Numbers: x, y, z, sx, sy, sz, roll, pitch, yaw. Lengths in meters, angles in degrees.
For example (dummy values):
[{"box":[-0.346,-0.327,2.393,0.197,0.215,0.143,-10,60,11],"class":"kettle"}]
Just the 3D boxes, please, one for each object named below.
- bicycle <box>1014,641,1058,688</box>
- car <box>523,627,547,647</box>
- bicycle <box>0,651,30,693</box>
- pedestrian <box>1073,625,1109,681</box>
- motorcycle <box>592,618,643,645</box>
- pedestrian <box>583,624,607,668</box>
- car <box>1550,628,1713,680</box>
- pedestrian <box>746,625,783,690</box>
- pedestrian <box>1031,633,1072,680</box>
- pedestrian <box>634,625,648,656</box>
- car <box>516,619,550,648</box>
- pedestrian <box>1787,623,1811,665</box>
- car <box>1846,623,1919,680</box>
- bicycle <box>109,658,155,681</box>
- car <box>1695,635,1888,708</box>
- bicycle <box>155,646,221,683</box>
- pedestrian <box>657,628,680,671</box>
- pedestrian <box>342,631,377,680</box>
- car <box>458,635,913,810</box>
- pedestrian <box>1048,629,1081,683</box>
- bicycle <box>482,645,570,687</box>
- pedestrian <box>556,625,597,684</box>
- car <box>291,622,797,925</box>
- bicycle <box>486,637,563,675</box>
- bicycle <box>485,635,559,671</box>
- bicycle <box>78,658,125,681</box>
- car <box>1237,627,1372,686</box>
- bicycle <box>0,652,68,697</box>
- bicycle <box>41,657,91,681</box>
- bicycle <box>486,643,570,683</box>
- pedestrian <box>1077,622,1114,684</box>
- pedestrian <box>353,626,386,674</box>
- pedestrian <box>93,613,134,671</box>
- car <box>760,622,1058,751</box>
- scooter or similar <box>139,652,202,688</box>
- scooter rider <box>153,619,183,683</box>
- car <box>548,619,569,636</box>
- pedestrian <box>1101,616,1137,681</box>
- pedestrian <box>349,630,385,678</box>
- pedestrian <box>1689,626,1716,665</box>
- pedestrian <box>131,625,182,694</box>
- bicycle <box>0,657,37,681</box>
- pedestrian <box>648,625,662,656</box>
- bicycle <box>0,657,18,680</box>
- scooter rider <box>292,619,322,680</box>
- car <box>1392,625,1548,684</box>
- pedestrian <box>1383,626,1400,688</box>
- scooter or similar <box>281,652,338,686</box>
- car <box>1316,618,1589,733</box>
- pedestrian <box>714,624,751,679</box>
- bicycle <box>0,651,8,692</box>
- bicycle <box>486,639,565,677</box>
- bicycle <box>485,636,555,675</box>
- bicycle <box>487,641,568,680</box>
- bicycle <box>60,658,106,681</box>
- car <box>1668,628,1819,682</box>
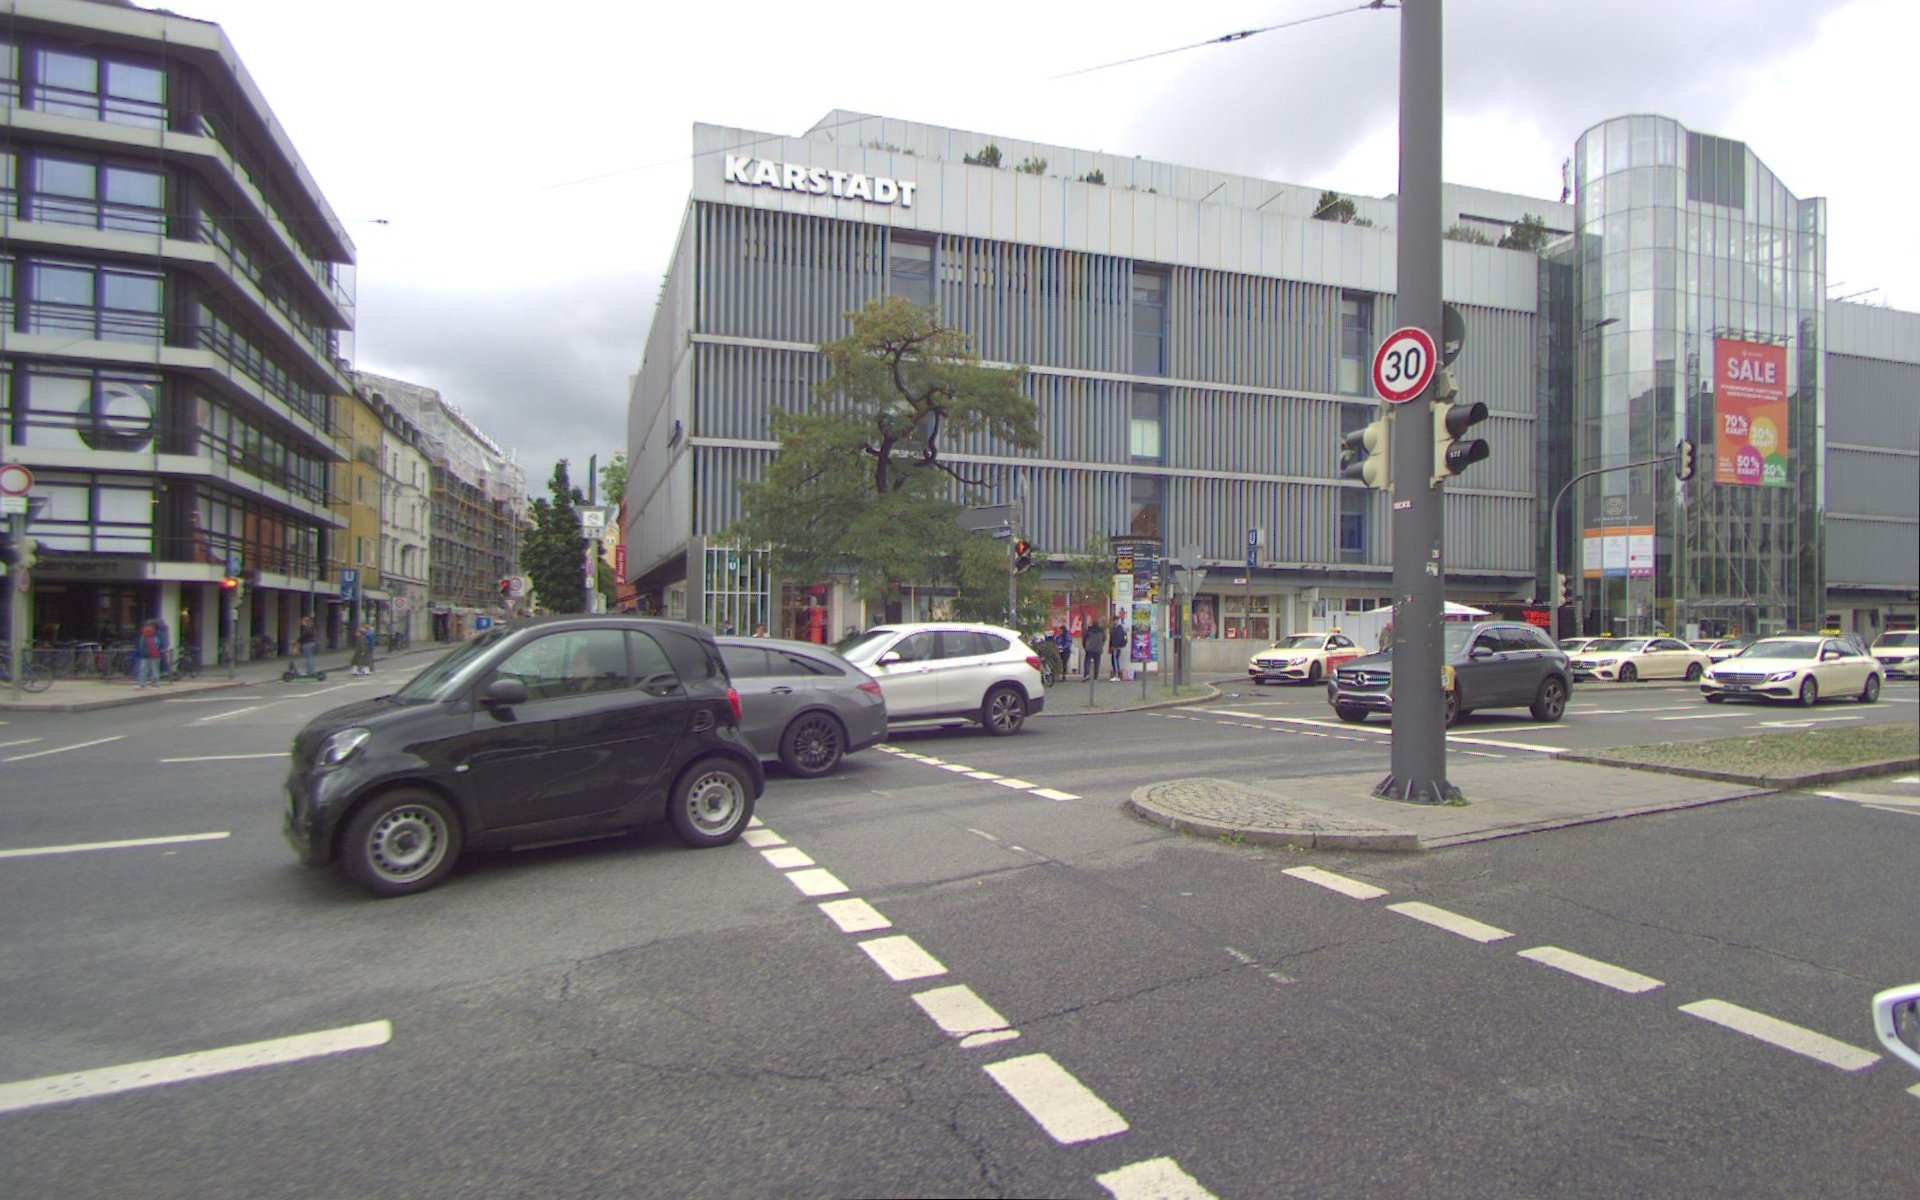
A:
[{"box":[1.914,1.616,25.478,0.368,1.126,1.569,1,-1,-25],"class":"bicycle"},{"box":[-41.895,3.654,99.077,1.931,1.884,3.981,1,-1,-20],"class":"car"},{"box":[-22.446,1.650,22.926,0.448,0.952,1.723,-1,-3,40],"class":"bicycle"},{"box":[3.775,1.513,28.932,0.741,1.575,0.768,1,-1,-25],"class":"pedestrian"},{"box":[-28.443,2.607,83.503,3.860,2.188,1.173,1,-1,-7],"class":"motorcycle"},{"box":[-14.099,1.765,38.817,0.838,1.676,0.799,1,-1,-18],"class":"pedestrian"},{"box":[21.026,1.666,31.451,4.565,1.528,1.991,1,-1,-21],"class":"car"},{"box":[-4.878,1.429,25.061,0.712,1.595,0.635,1,-1,-30],"class":"pedestrian"},{"box":[2.579,1.582,28.290,1.031,1.292,0.542,1,-1,-29],"class":"pedestrian"},{"box":[-16.217,2.049,51.024,0.646,1.573,0.678,1,-1,-21],"class":"pedestrian"},{"box":[-31.597,2.461,74.401,2.142,2.087,3.981,1,-1,-21],"class":"car"},{"box":[36.583,1.921,43.820,0.618,1.841,0.557,1,-1,-19],"class":"pedestrian"},{"box":[36.648,1.920,38.556,5.449,2.040,1.987,0,-1,-26],"class":"car"},{"box":[-25.391,2.115,30.832,0.422,0.641,1.630,0,-2,-15],"class":"bicycle"},{"box":[18.287,1.492,22.048,4.583,1.440,1.757,1,-1,-30],"class":"car"},{"box":[-23.797,1.970,30.988,0.421,1.088,1.635,0,-2,18],"class":"bicycle"},{"box":[-11.951,2.025,41.153,0.774,1.710,0.784,1,-1,-25],"class":"pedestrian"},{"box":[-20.426,1.875,34.182,0.844,1.664,0.786,0,-1,-18],"class":"pedestrian"},{"box":[-2.757,1.096,10.286,4.121,1.430,1.983,1,-3,-32],"class":"car"},{"box":[2.994,1.579,28.784,0.737,1.513,0.772,0,-1,26],"class":"pedestrian"},{"box":[-11.027,1.689,25.556,1.962,1.011,0.524,3,-2,-30],"class":"bicycle"},{"box":[-10.832,1.530,28.388,0.804,1.640,0.831,2,-2,-44],"class":"pedestrian"},{"box":[-2.683,0.939,6.662,2.813,1.555,1.492,1,-2,-39],"class":"car"},{"box":[-12.570,1.620,29.001,1.962,1.011,0.524,3,-2,-30],"class":"bicycle"},{"box":[-13.111,1.598,30.099,1.962,1.011,0.524,3,-2,-30],"class":"bicycle"},{"box":[-26.102,2.099,30.559,0.422,0.641,1.630,0,-2,-15],"class":"bicycle"},{"box":[10.024,1.576,29.094,4.386,1.556,1.974,2,-2,-45],"class":"car"},{"box":[-20.668,1.611,21.911,0.448,0.952,1.723,-1,-3,39],"class":"bicycle"},{"box":[-26.967,2.078,30.310,0.422,0.641,1.630,0,-2,-15],"class":"bicycle"},{"box":[-11.430,1.668,26.576,1.962,1.011,0.524,3,-2,-30],"class":"bicycle"},{"box":[3.754,1.450,27.866,0.740,1.676,0.770,0,-1,-19],"class":"pedestrian"},{"box":[-20.973,1.769,35.698,0.838,1.676,0.799,0,-1,-18],"class":"pedestrian"},{"box":[-30.413,1.511,36.088,0.905,2.040,0.831,1,-1,-26],"class":"pedestrian"},{"box":[-0.688,1.139,14.399,3.954,1.617,1.690,1,-1,-31],"class":"car"},{"box":[-23.238,2.052,29.579,1.388,0.995,0.411,1,-1,-32],"class":"scooter or similar"},{"box":[-23.314,1.499,29.568,0.603,1.863,0.551,1,-1,-31],"class":"scooter rider"},{"box":[-43.240,2.930,108.213,1.931,1.774,3.981,1,-1,-20],"class":"car"},{"box":[4.527,1.369,28.527,0.739,1.796,0.770,-1,-1,37],"class":"pedestrian"},{"box":[-20.622,1.866,34.941,0.934,1.609,0.739,0,-1,-18],"class":"pedestrian"},{"box":[32.806,2.003,44.404,0.700,1.714,0.651,0,-1,-17],"class":"pedestrian"},{"box":[-19.775,1.440,24.739,0.779,1.663,0.853,1,-1,-25],"class":"pedestrian"},{"box":[-28.201,2.050,29.886,0.357,0.641,1.630,0,-2,-15],"class":"bicycle"},{"box":[-15.600,2.063,51.329,0.646,1.573,0.678,1,-1,-21],"class":"pedestrian"},{"box":[-28.593,2.041,29.696,0.357,0.641,1.630,0,-2,-15],"class":"bicycle"},{"box":[-20.128,1.524,30.966,0.658,1.859,0.617,1,-1,-22],"class":"scooter rider"},{"box":[14.577,1.500,28.669,4.339,1.563,1.893,1,-2,-29],"class":"car"},{"box":[12.532,1.635,29.182,0.348,1.783,0.447,0,-1,6],"class":"pedestrian"},{"box":[-20.047,2.123,30.971,1.384,0.995,0.412,1,-1,-23],"class":"scooter or similar"},{"box":[8.202,1.160,16.627,4.675,1.692,1.735,1,-2,-30],"class":"car"},{"box":[-7.286,1.641,32.240,0.774,1.710,0.862,0,-1,26],"class":"pedestrian"},{"box":[-22.999,1.635,22.962,0.448,0.952,1.724,-1,-3,38],"class":"bicycle"},{"box":[-12.198,1.636,28.216,1.962,1.011,0.524,3,-2,-30],"class":"bicycle"},{"box":[-13.415,1.695,30.642,1.871,1.126,0.582,3,-2,-30],"class":"bicycle"},{"box":[-11.846,1.650,27.518,1.962,1.011,0.524,3,-2,-30],"class":"bicycle"},{"box":[-26.548,2.088,30.435,0.357,0.641,1.630,0,-2,-15],"class":"bicycle"},{"box":[26.045,1.787,33.424,4.116,1.701,1.993,1,-2,-17],"class":"car"}]
